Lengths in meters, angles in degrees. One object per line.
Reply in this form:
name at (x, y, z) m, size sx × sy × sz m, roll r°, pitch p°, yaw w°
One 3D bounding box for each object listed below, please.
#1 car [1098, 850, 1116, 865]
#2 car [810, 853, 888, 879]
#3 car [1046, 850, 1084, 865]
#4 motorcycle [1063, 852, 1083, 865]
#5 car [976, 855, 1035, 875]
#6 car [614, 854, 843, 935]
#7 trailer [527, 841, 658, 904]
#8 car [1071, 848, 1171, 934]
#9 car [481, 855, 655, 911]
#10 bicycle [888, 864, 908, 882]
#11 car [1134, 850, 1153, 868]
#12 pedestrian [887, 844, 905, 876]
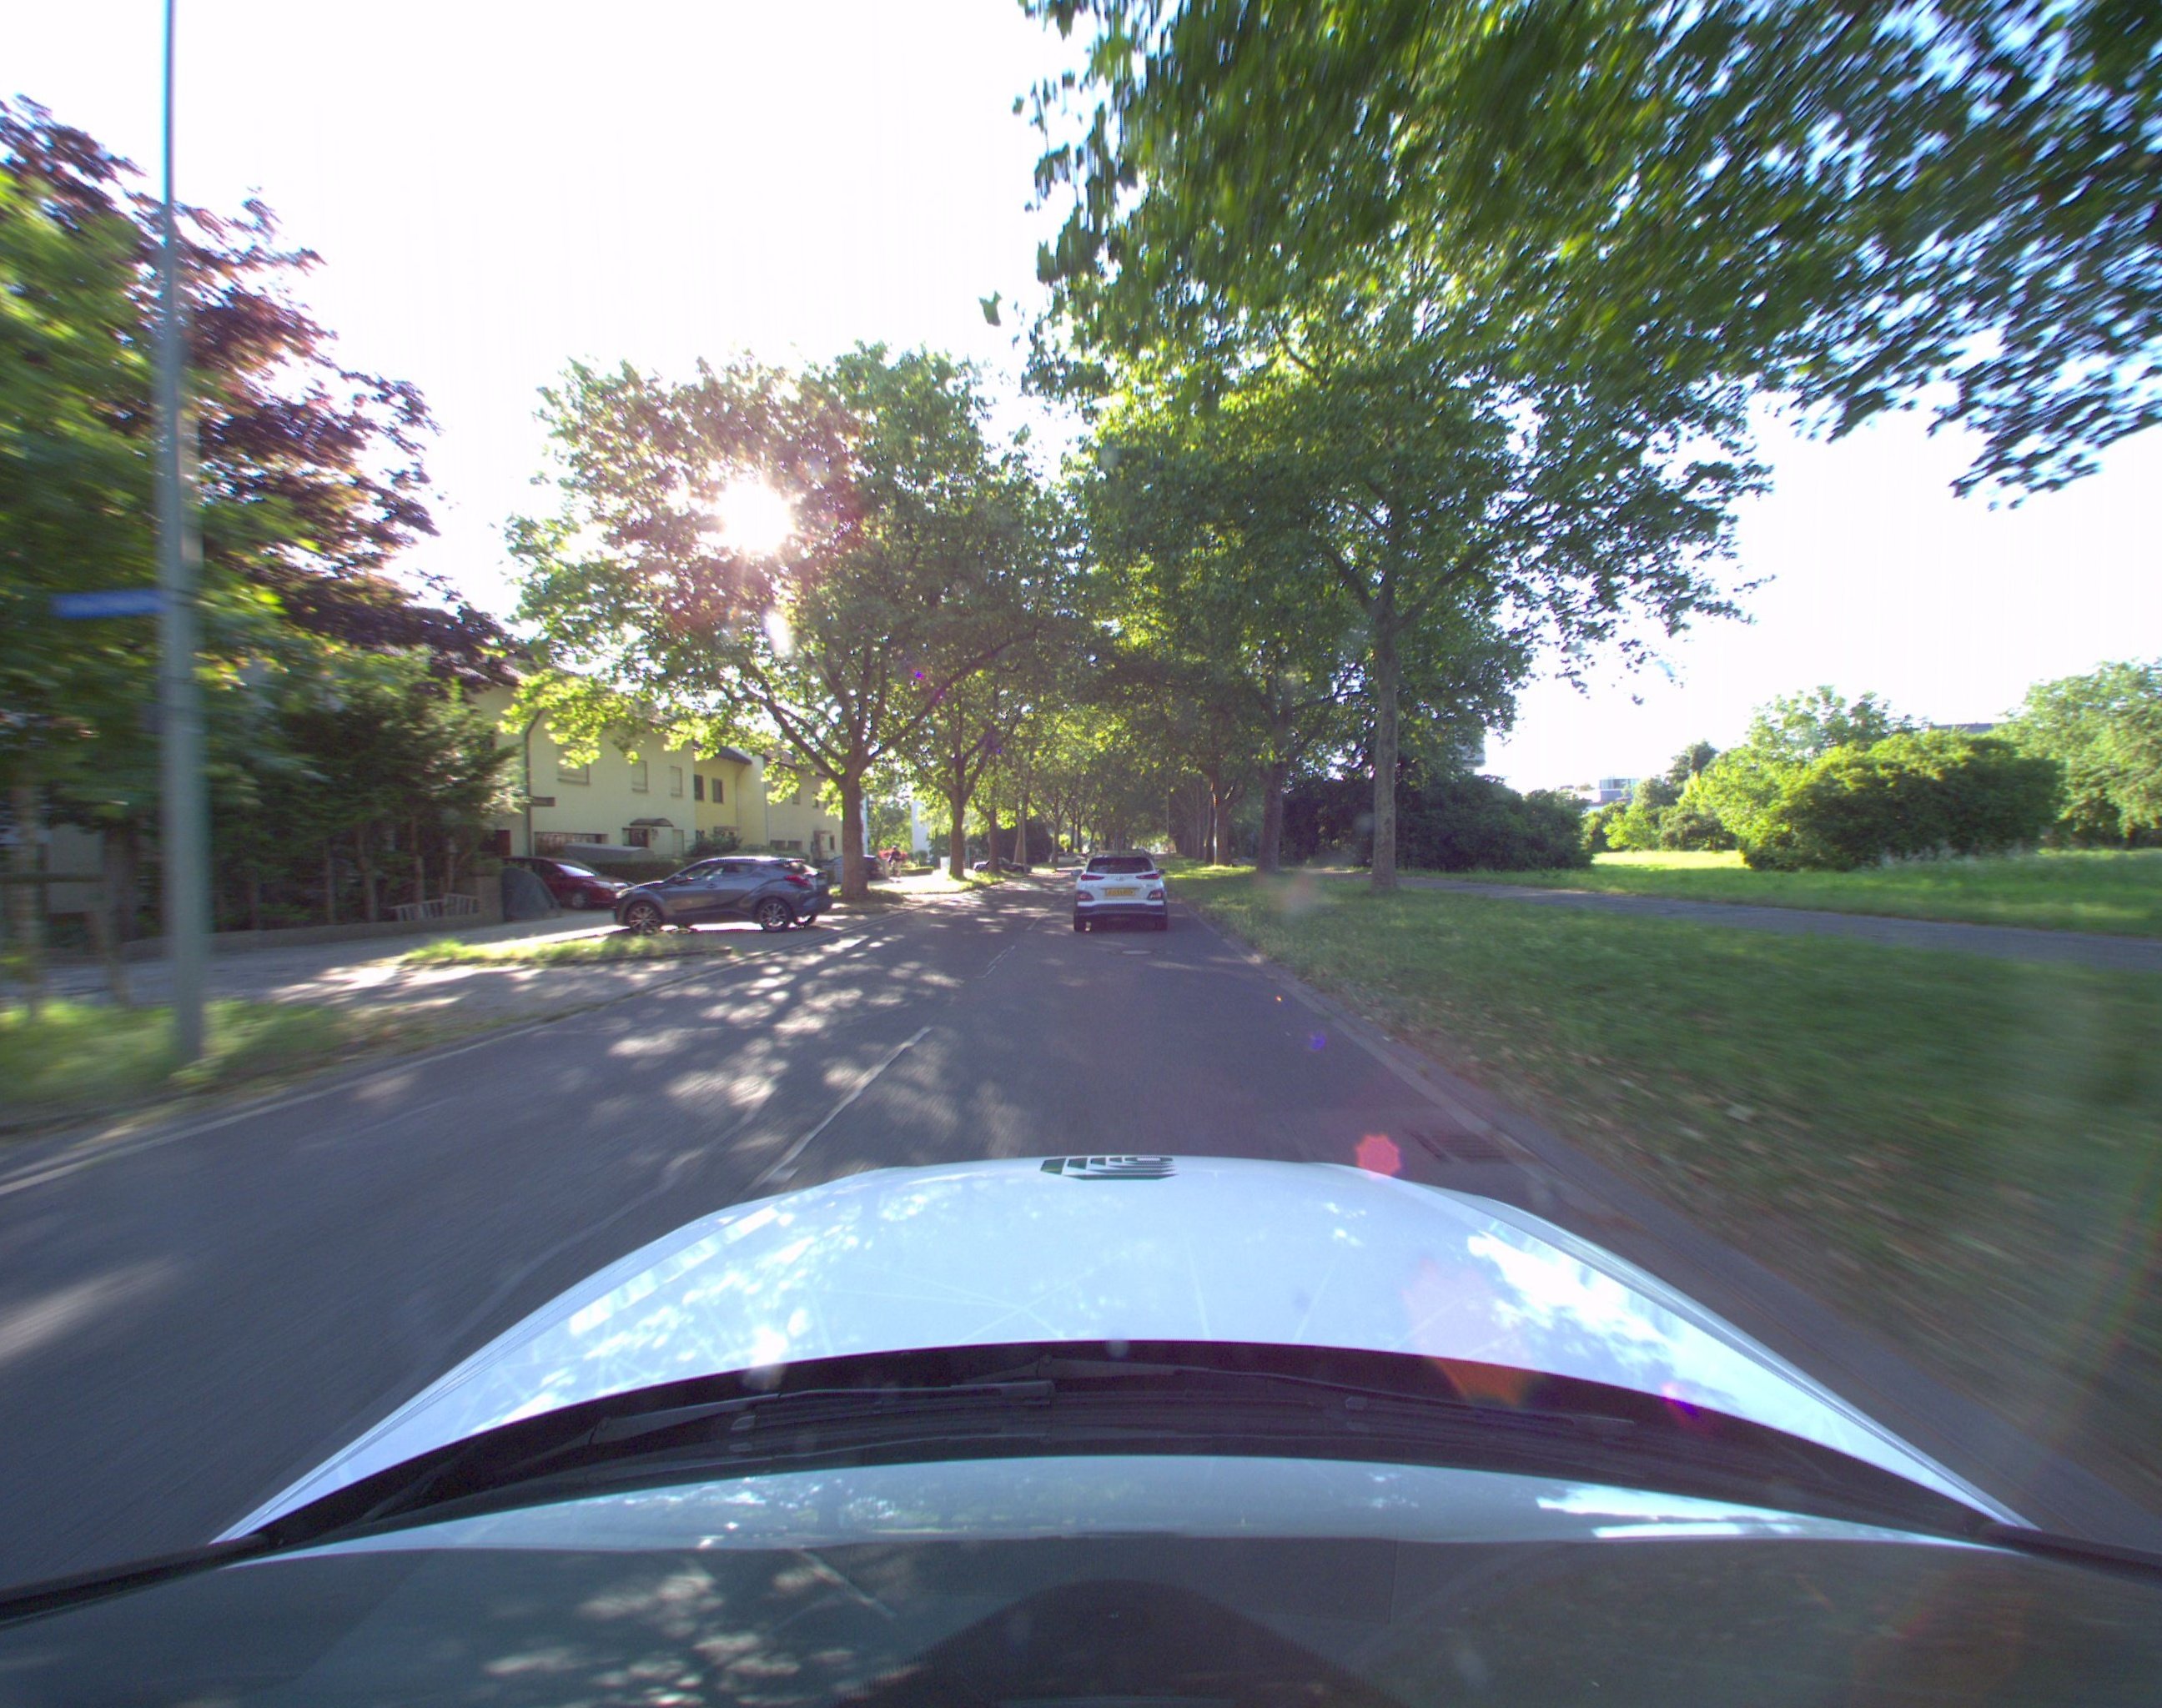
car at (2.790, 0.384, 87.163) m, size 1.776 × 1.512 × 3.843 m, roll 0°, pitch 0°, yaw 5°
car at (-13.646, 0.700, 48.103) m, size 3.969 × 1.464 × 1.903 m, roll 1°, pitch 0°, yaw 3°
car at (-1.763, 0.423, 92.868) m, size 4.168 × 1.584 × 2.001 m, roll -1°, pitch 0°, yaw 1°
motorcycle at (-0.940, 0.556, 95.236) m, size 2.377 × 1.388 × 0.648 m, roll -2°, pitch 1°, yaw 0°
car at (-5.117, 0.736, 55.471) m, size 3.810 × 1.316 × 1.791 m, roll 0°, pitch 0°, yaw 3°
car at (-7.266, 0.804, 17.078) m, size 3.974 × 1.518 × 1.818 m, roll -1°, pitch 0°, yaw 1°
trailer at (-16.641, 0.607, 27.856) m, size 3.440 × 1.925 × 1.644 m, roll 2°, pitch 1°, yaw 1°
car at (0.722, 0.667, 17.064) m, size 1.830 × 1.555 × 3.999 m, roll -1°, pitch 0°, yaw -1°
car at (-15.521, 0.848, 24.804) m, size 3.971 × 1.476 × 2.002 m, roll 2°, pitch 0°, yaw 2°
bicycle at (-9.821, 1.002, 43.759) m, size 0.468 × 0.880 × 2.157 m, roll -2°, pitch 0°, yaw 3°
car at (6.247, 0.517, 82.133) m, size 1.670 × 1.696 × 3.746 m, roll -1°, pitch 0°, yaw 1°
pedestrian at (-9.900, 0.320, 43.676) m, size 0.614 × 1.716 × 1.066 m, roll -2°, pitch 0°, yaw 3°
